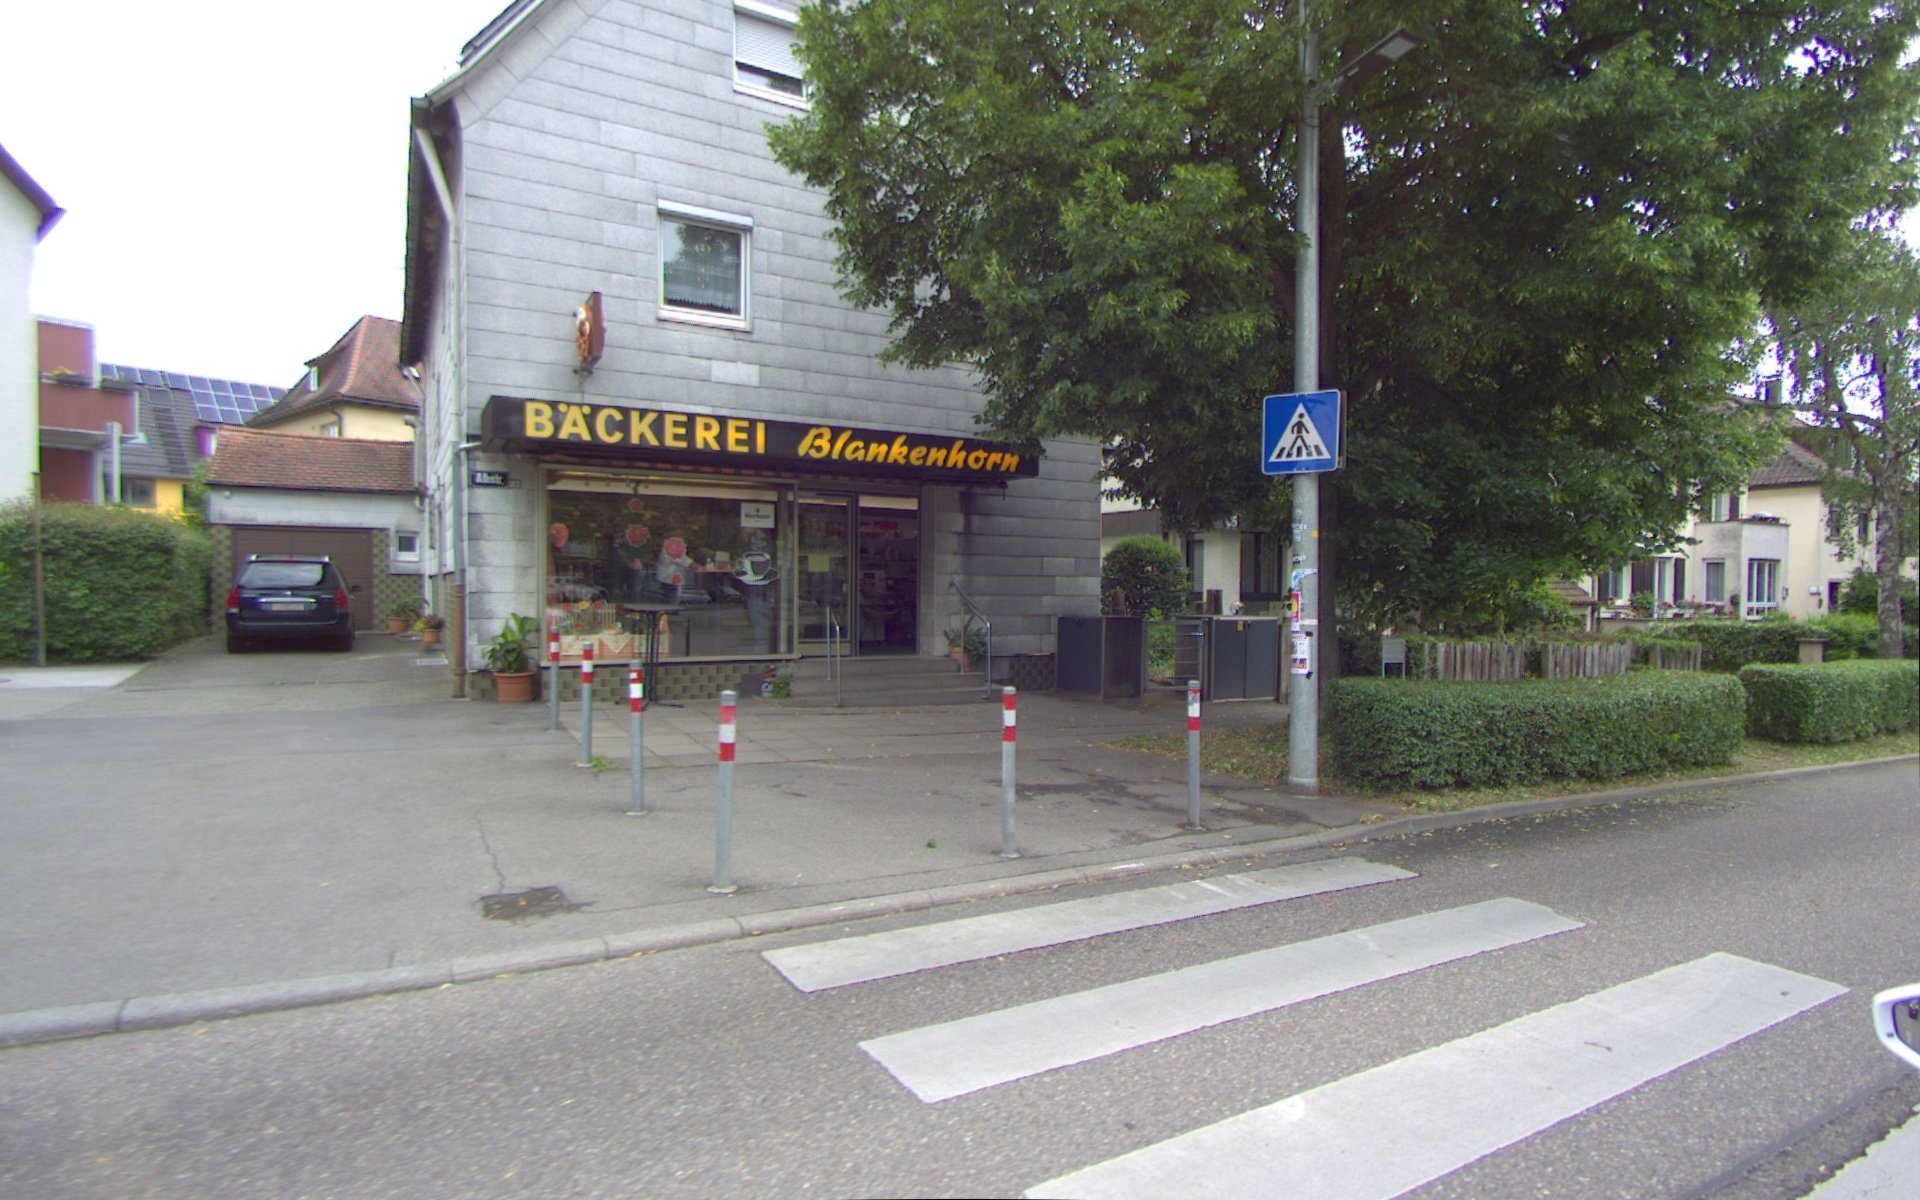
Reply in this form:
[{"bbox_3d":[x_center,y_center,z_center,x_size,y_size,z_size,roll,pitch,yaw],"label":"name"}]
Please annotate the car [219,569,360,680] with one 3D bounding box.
[{"bbox_3d":[-11.460,0.347,17.326,1.824,1.580,3.662,1,3,-32],"label":"car"}]
